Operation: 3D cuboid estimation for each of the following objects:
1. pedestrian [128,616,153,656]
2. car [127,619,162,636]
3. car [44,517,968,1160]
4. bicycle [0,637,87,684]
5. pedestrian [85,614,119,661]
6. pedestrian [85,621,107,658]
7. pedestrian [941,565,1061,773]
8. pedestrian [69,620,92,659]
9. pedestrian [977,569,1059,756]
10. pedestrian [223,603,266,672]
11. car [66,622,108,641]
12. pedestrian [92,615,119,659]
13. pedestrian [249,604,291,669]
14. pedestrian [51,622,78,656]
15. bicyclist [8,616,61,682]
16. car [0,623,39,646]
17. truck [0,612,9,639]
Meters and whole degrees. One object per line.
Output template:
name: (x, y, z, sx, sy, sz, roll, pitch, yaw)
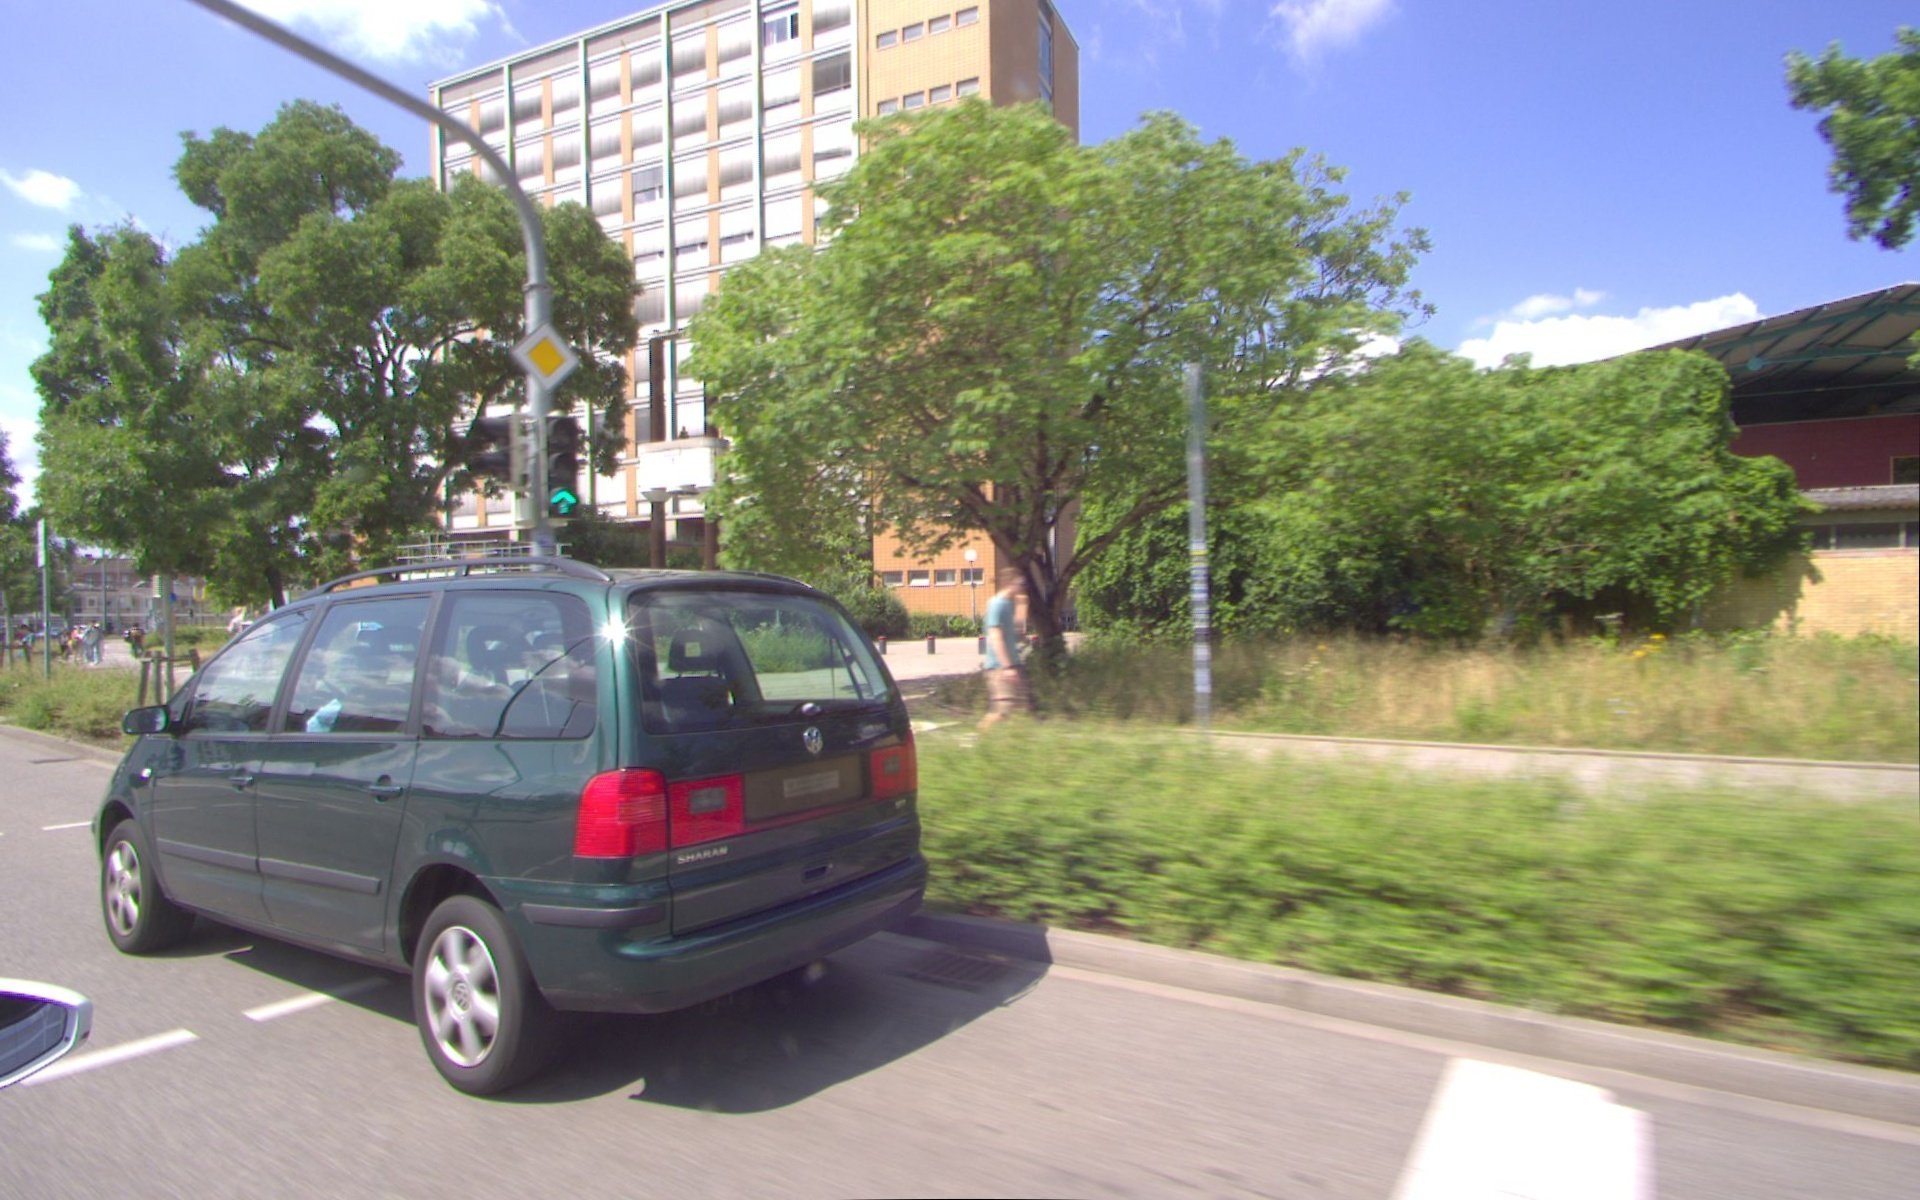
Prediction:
pedestrian: (-38.235, 1.675, 46.716, 0.666, 1.844, 0.753, -2, -2, 39)
car: (-83.066, 2.820, 102.050, 1.858, 1.663, 3.942, 0, -1, -25)
car: (-2.296, 0.717, 4.672, 4.384, 1.744, 1.792, -1, -3, 32)
bicycle: (-23.475, 1.525, 25.446, 0.584, 1.064, 1.803, -2, 1, 36)
pedestrian: (-34.783, 1.516, 40.592, 0.769, 1.846, 0.754, -1, 3, 31)
pedestrian: (-39.501, 1.824, 45.804, 0.644, 1.647, 0.769, -3, 1, -37)
pedestrian: (0.384, 0.599, 9.181, 0.867, 1.801, 0.750, 0, 1, 23)
pedestrian: (-37.145, 1.669, 42.288, 0.719, 1.646, 0.585, -2, -2, 38)
pedestrian: (0.579, 0.591, 9.878, 0.599, 1.770, 0.666, 0, 1, 23)
pedestrian: (-19.291, 1.000, 27.000, 0.601, 1.827, 0.747, 0, 1, 36)
car: (-80.881, 2.906, 92.821, 1.858, 1.663, 3.942, 0, -1, -25)
pedestrian: (-36.621, 1.598, 42.932, 0.630, 1.844, 0.753, -2, -2, 37)
pedestrian: (-19.243, 1.010, 27.932, 0.601, 1.776, 0.747, 0, 1, 36)
pedestrian: (-42.767, 1.860, 47.813, 0.750, 1.609, 0.755, -1, -2, 31)
bicyclist: (-23.500, 1.240, 25.424, 0.572, 1.623, 0.824, -2, 1, 36)
car: (-72.501, 2.635, 77.008, 1.862, 1.663, 3.932, 0, -1, -34)
truck: (-103.662, 2.652, 104.435, 2.844, 2.889, 8.775, 0, -1, -18)
